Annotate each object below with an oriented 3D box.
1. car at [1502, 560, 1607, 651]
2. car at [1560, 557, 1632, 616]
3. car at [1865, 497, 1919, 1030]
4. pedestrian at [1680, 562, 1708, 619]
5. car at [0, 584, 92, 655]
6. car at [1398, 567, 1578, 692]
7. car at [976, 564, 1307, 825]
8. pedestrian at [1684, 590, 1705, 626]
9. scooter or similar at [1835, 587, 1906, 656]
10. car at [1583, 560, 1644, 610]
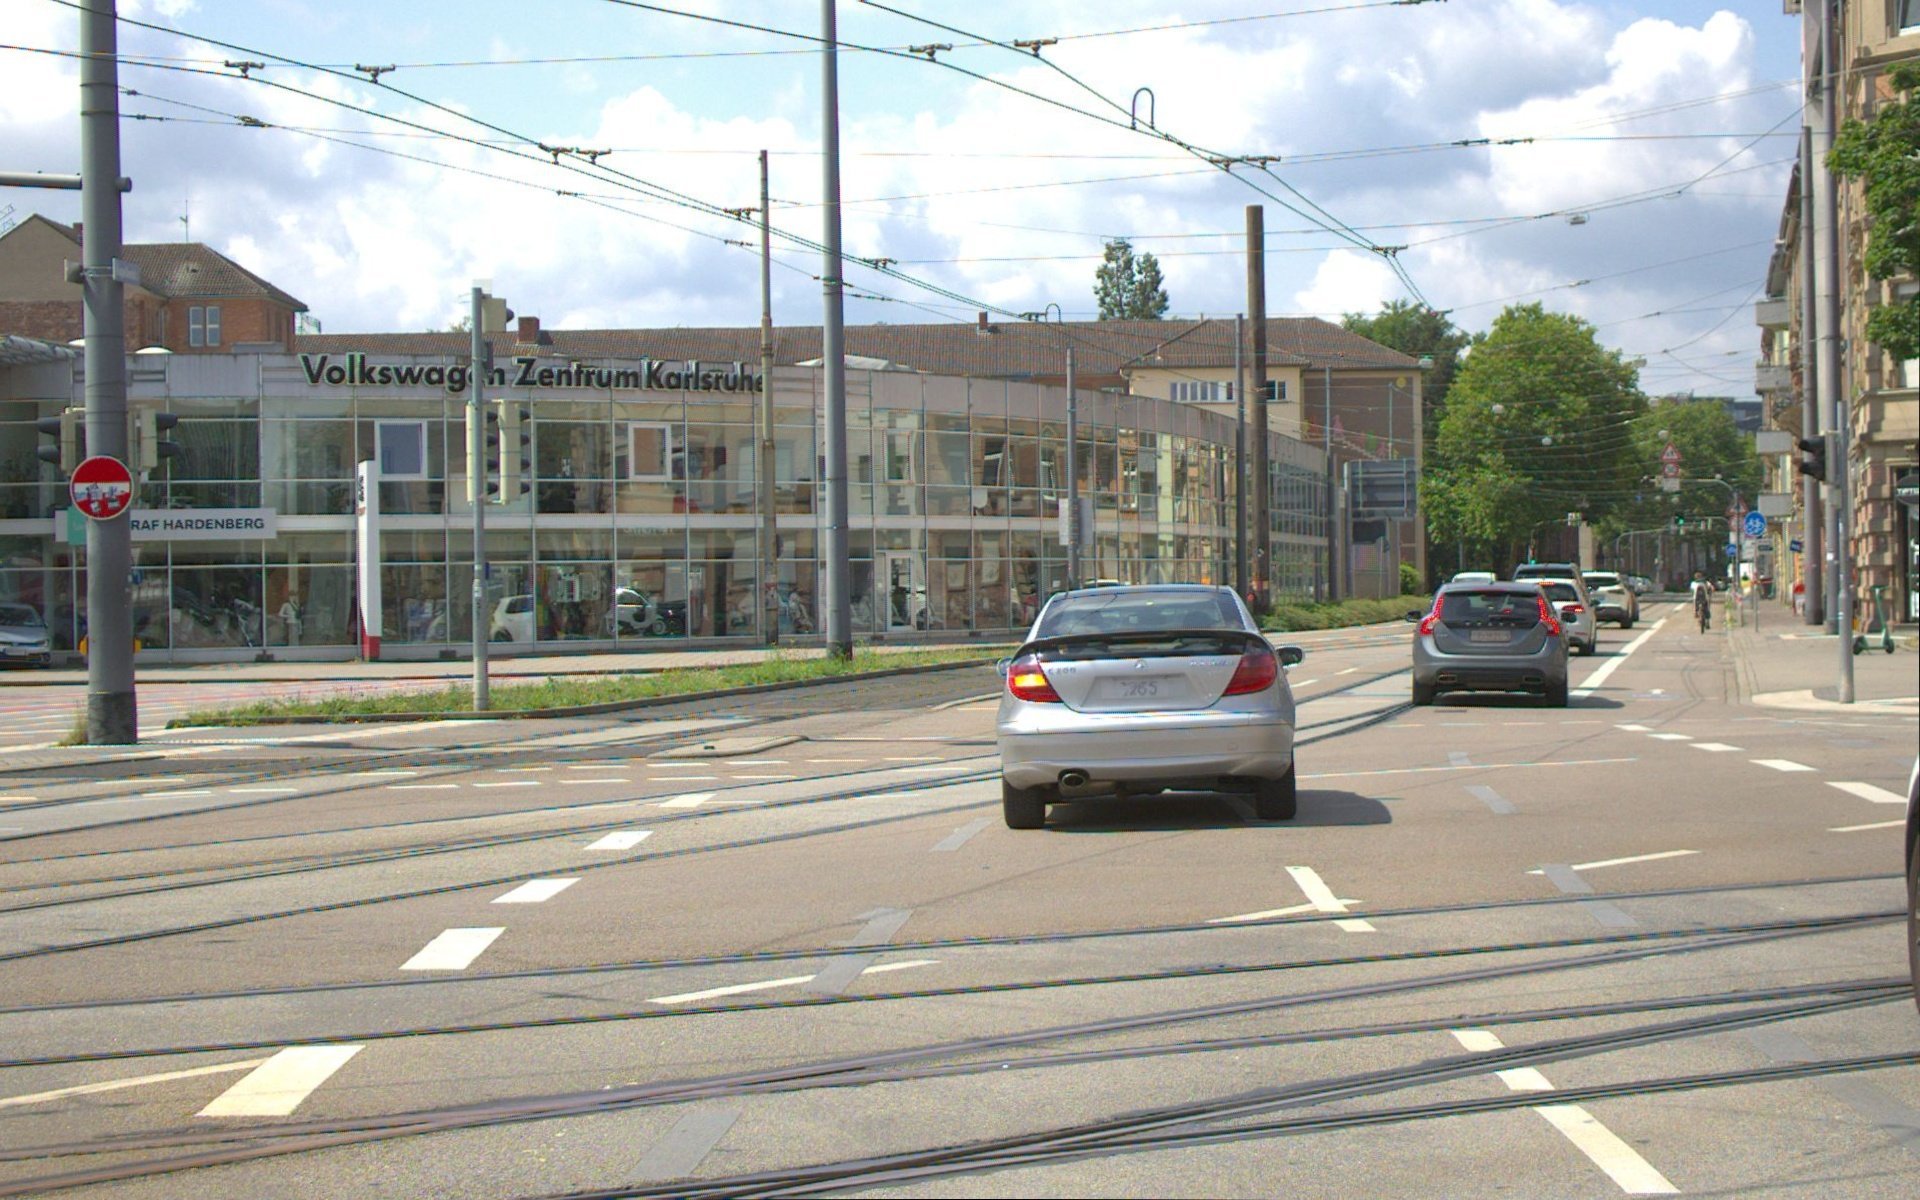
[{"bbox_3d":[11.223,0.086,64.795,1.882,1.636,3.955,-1,0,10],"label":"car"},{"bbox_3d":[18.033,-0.389,97.436,1.882,1.636,3.955,-1,0,12],"label":"car"},{"bbox_3d":[3.793,0.503,9.122,1.881,1.636,4.232,-1,0,3],"label":"car"},{"bbox_3d":[18.828,-0.242,88.140,0.692,1.452,0.679,0,-1,12],"label":"pedestrian"},{"bbox_3d":[-21.000,0.462,78.023,1.993,1.569,4.000,0,-1,-6],"label":"car"},{"bbox_3d":[6.271,0.324,41.179,1.881,1.414,3.956,-1,0,5],"label":"car"},{"bbox_3d":[1.206,0.507,21.058,1.742,1.387,4.178,-2,0,6],"label":"car"},{"bbox_3d":[18.810,0.208,88.046,0.525,0.903,1.560,0,-1,11],"label":"pedestrian"},{"bbox_3d":[15.628,0.382,59.002,1.517,1.170,0.382,1,-2,-40],"label":"scooter or similar"},{"bbox_3d":[21.798,-0.511,114.534,1.882,1.636,3.955,-1,0,12],"label":"car"}]
